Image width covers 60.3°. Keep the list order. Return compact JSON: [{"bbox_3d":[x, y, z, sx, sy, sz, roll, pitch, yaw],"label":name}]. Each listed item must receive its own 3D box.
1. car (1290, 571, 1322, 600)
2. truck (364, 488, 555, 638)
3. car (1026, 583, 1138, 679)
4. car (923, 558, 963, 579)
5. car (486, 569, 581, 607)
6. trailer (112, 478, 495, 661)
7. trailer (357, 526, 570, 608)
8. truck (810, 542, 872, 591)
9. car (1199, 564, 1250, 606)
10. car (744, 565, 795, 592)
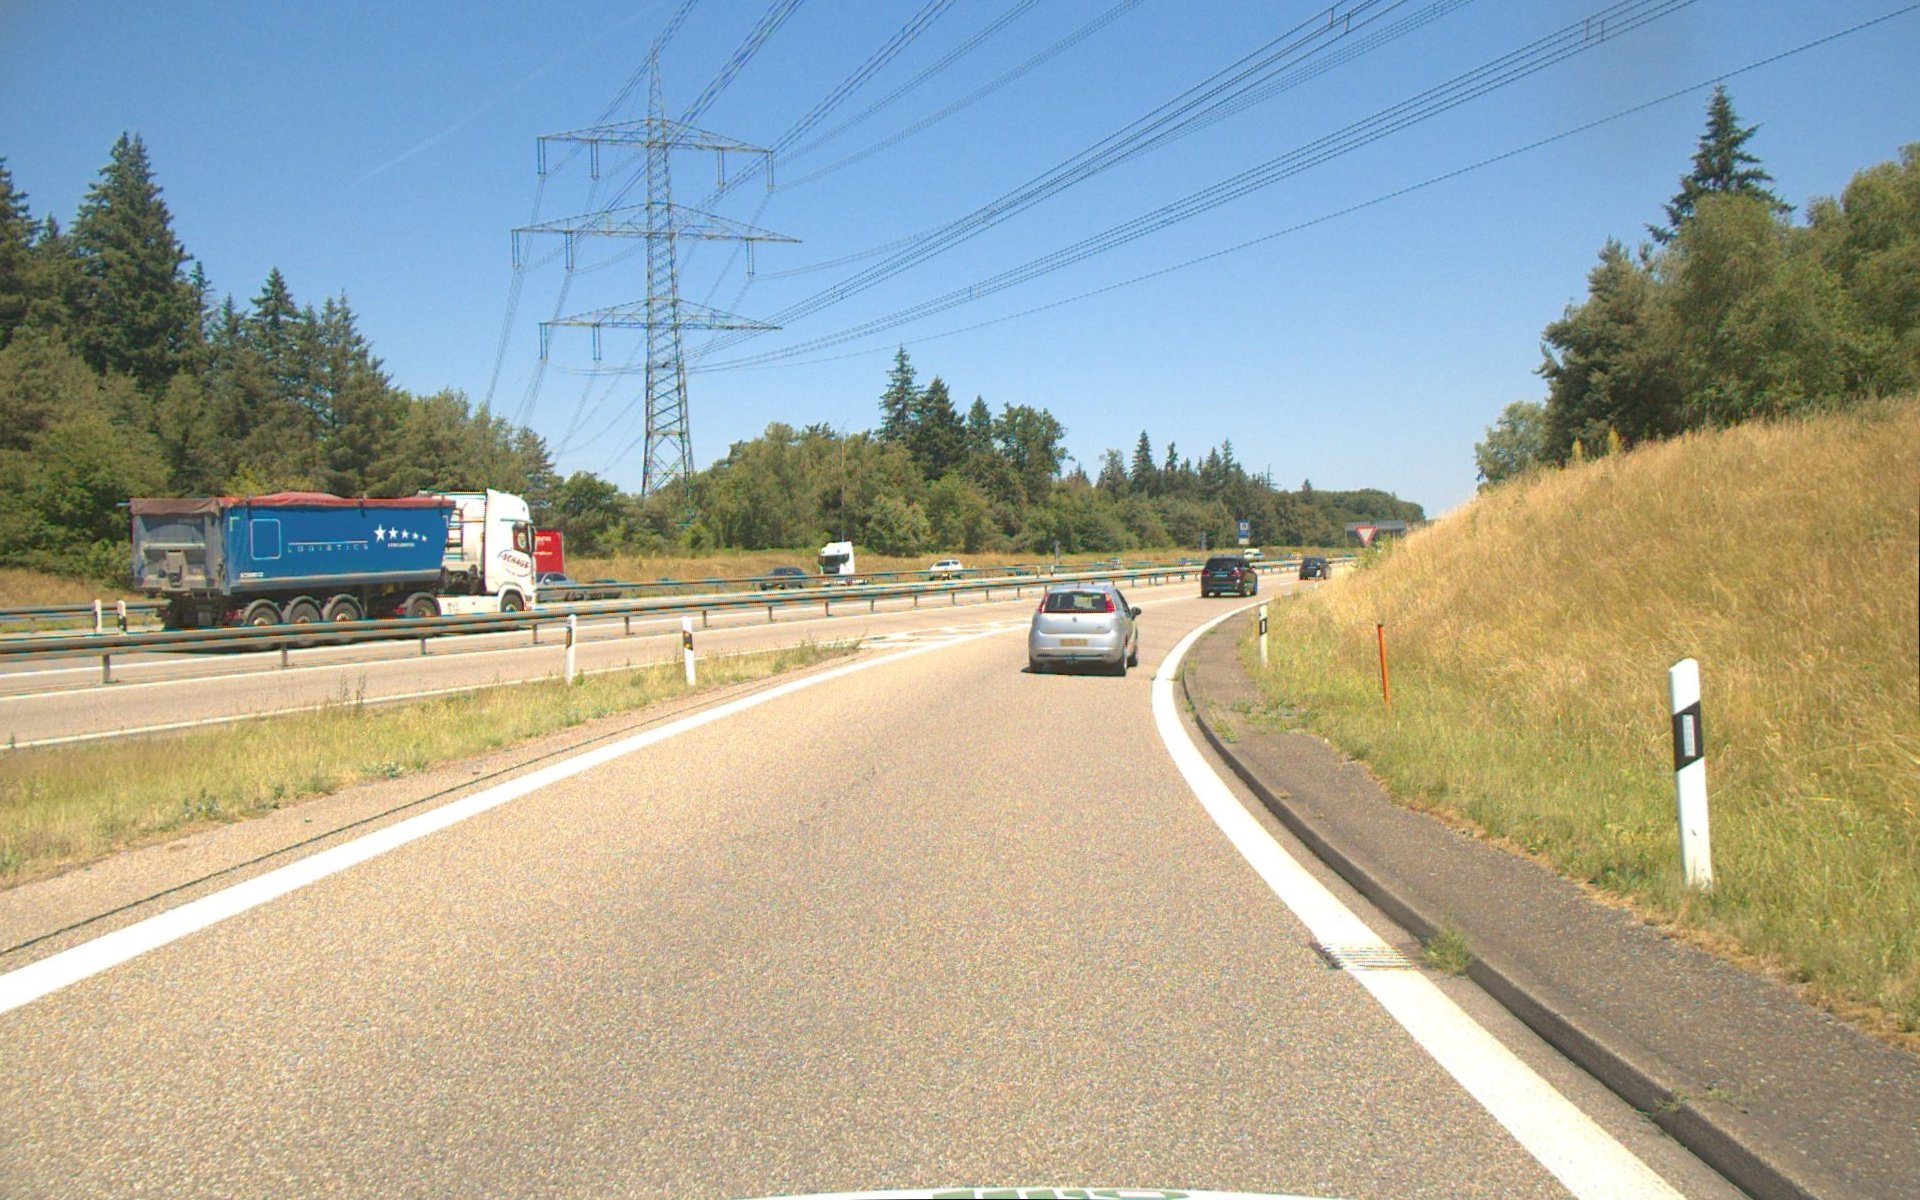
[{"bbox_3d":[22.585,-0.956,107.874,1.842,1.713,4.004,-4,0,14],"label":"car"},{"bbox_3d":[-13.618,-1.009,45.318,2.699,3.873,4.624,-1,2,20],"label":"truck"},{"bbox_3d":[2.178,0.495,28.744,1.670,1.507,3.401,1,1,8],"label":"car"},{"bbox_3d":[-1.388,-2.613,139.436,1.735,1.713,4.826,-1,0,20],"label":"car"},{"bbox_3d":[-19.970,-0.579,77.677,1.736,1.713,4.824,-1,0,23],"label":"car"},{"bbox_3d":[-15.441,-0.801,40.152,2.713,3.873,9.890,-1,2,20],"label":"trailer"},{"bbox_3d":[-25.287,-1.866,85.478,2.489,3.863,13.744,-1,2,21],"label":"trailer"},{"bbox_3d":[-11.049,-3.054,154.368,2.801,4.421,7.530,-1,0,22],"label":"truck"},{"bbox_3d":[11.362,-0.630,70.894,1.670,1.705,3.400,-1,0,17],"label":"car"},{"bbox_3d":[-12.620,-1.435,109.695,1.736,1.713,3.689,-1,0,23],"label":"car"}]
